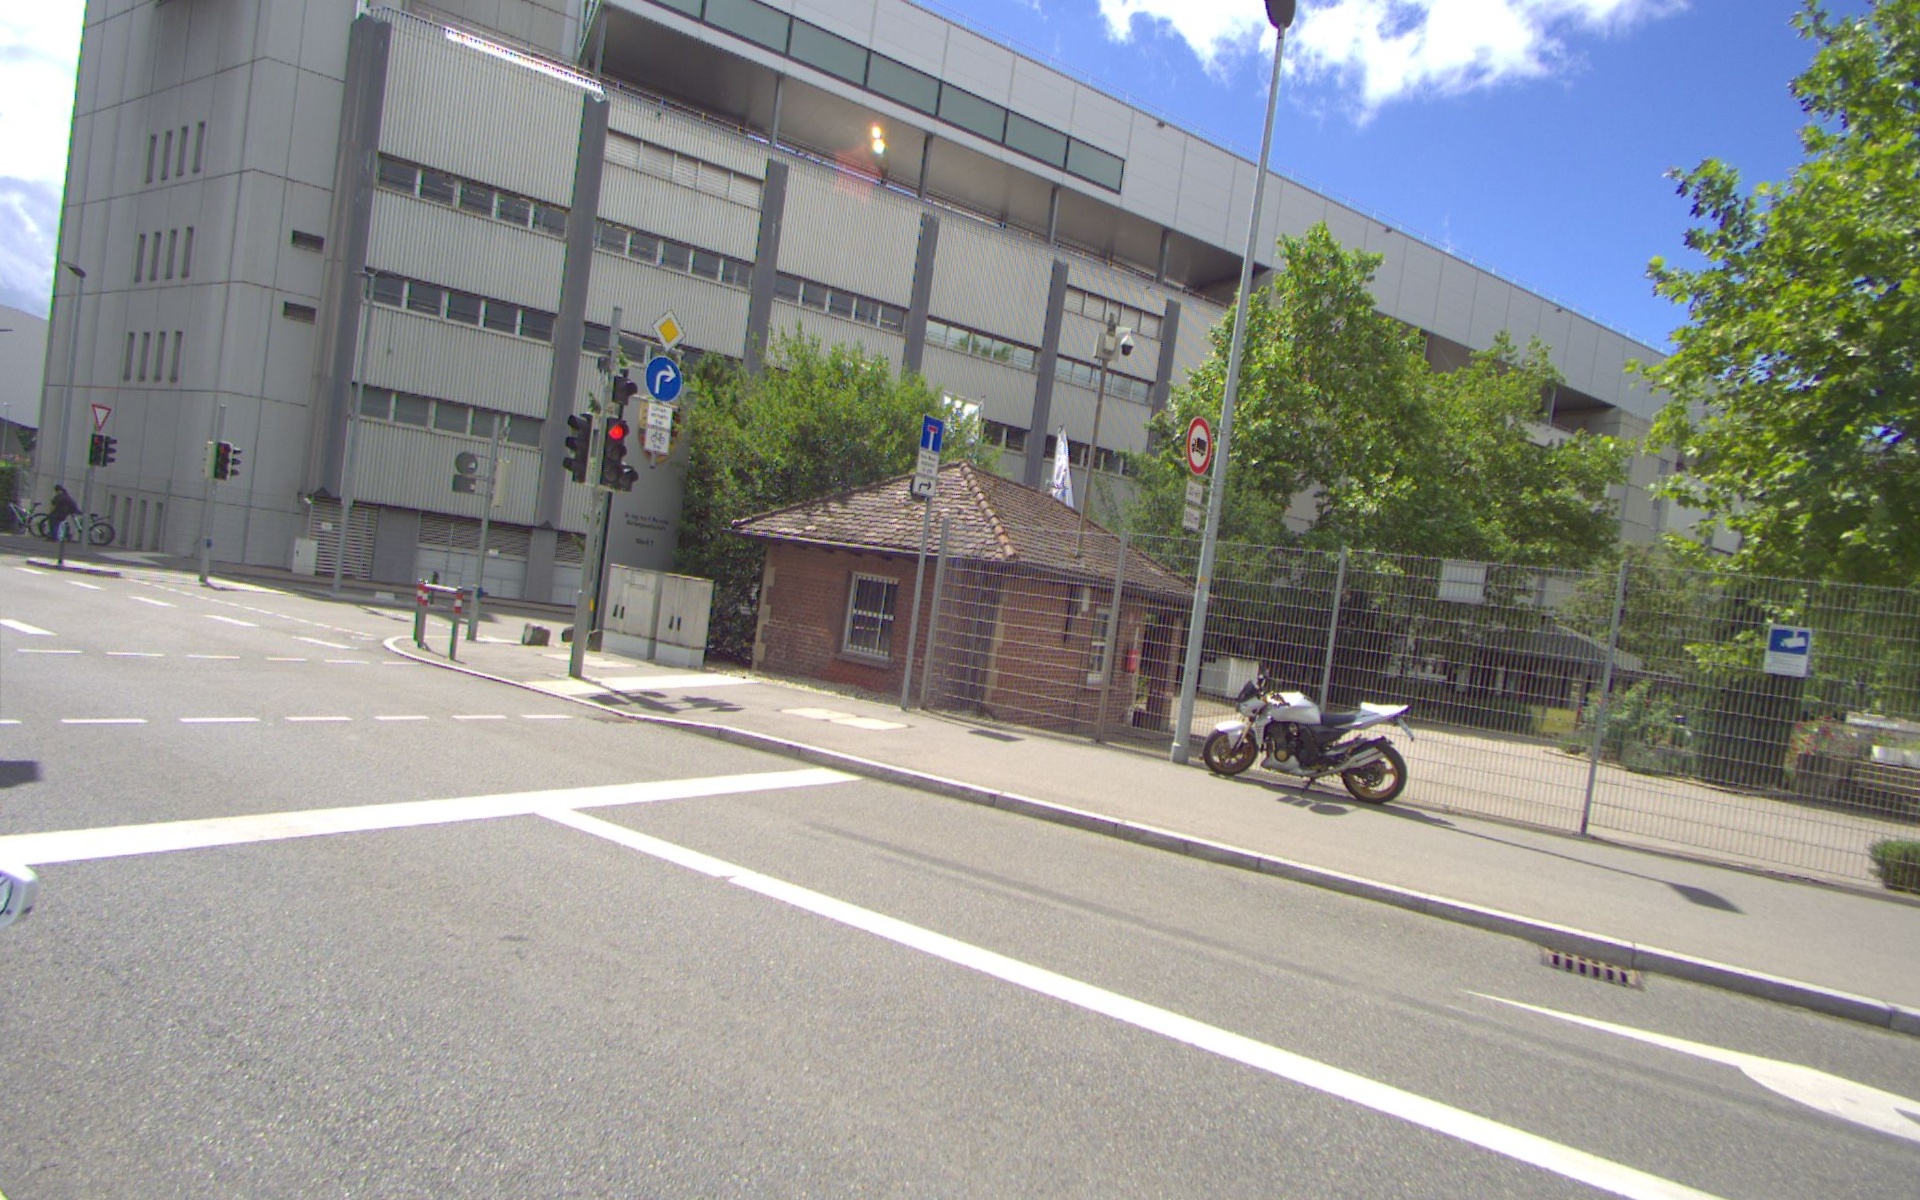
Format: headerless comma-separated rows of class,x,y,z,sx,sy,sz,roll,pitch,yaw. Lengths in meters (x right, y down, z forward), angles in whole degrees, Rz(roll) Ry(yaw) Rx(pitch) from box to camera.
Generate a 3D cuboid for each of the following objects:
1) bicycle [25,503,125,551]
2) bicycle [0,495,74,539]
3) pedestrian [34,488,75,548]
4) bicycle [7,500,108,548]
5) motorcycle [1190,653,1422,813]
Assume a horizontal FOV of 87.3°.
bicycle,-27.227,-2.244,30.994,2.166,1.099,0.474,8,-1,-23
bicycle,-29.292,-2.639,31.485,2.197,1.099,0.474,8,-1,-23
pedestrian,-27.003,-2.430,30.020,0.651,1.659,0.531,8,-1,-30
bicycle,-27.957,-2.333,31.200,2.197,1.099,0.474,8,-1,-23
motorcycle,3.420,1.266,10.019,1.980,1.239,0.687,6,2,32
